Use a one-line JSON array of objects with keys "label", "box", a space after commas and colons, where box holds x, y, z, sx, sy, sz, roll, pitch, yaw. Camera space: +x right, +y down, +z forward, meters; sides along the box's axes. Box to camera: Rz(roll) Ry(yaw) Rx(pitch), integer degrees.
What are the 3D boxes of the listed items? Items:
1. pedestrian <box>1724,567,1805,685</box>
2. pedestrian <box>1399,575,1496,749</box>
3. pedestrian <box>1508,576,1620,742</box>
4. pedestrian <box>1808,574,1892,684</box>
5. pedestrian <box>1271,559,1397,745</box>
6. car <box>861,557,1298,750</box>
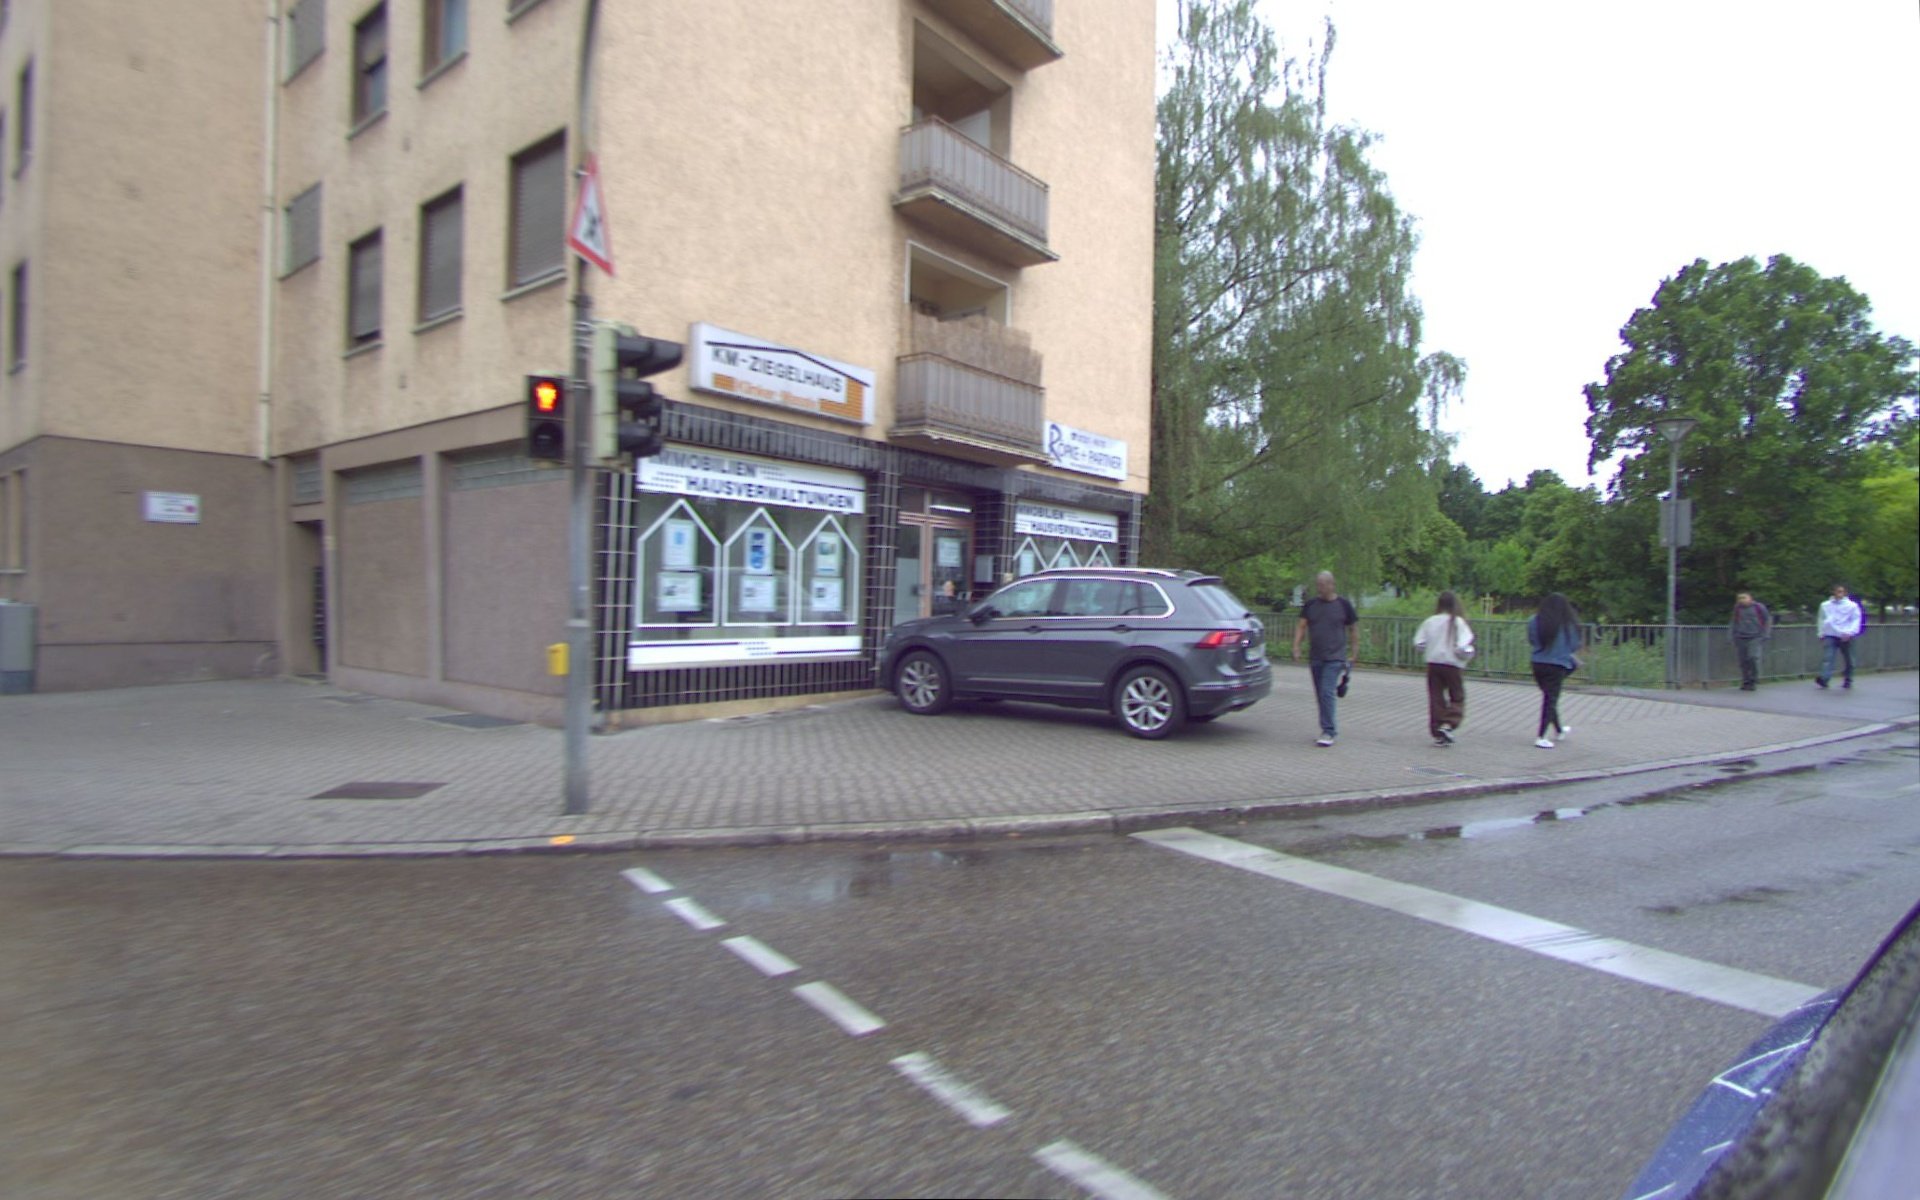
[{"label": "pedestrian", "box": [12.935, 0.404, 16.278, 0.766, 1.831, 0.764, 1, 1, -31]}, {"label": "pedestrian", "box": [4.800, 0.573, 9.942, 0.757, 1.594, 0.773, 3, 1, 29]}, {"label": "pedestrian", "box": [6.220, 0.578, 10.426, 0.780, 1.620, 0.660, 1, 2, -34]}, {"label": "pedestrian", "box": [14.986, 0.468, 17.041, 1.040, 1.774, 0.782, 1, 0, -32]}, {"label": "pedestrian", "box": [3.604, 0.470, 9.780, 0.766, 1.698, 0.764, 2, 1, -31]}, {"label": "car", "box": [1.215, 0.422, 11.019, 4.349, 1.669, 1.862, 2, 2, 33]}]
